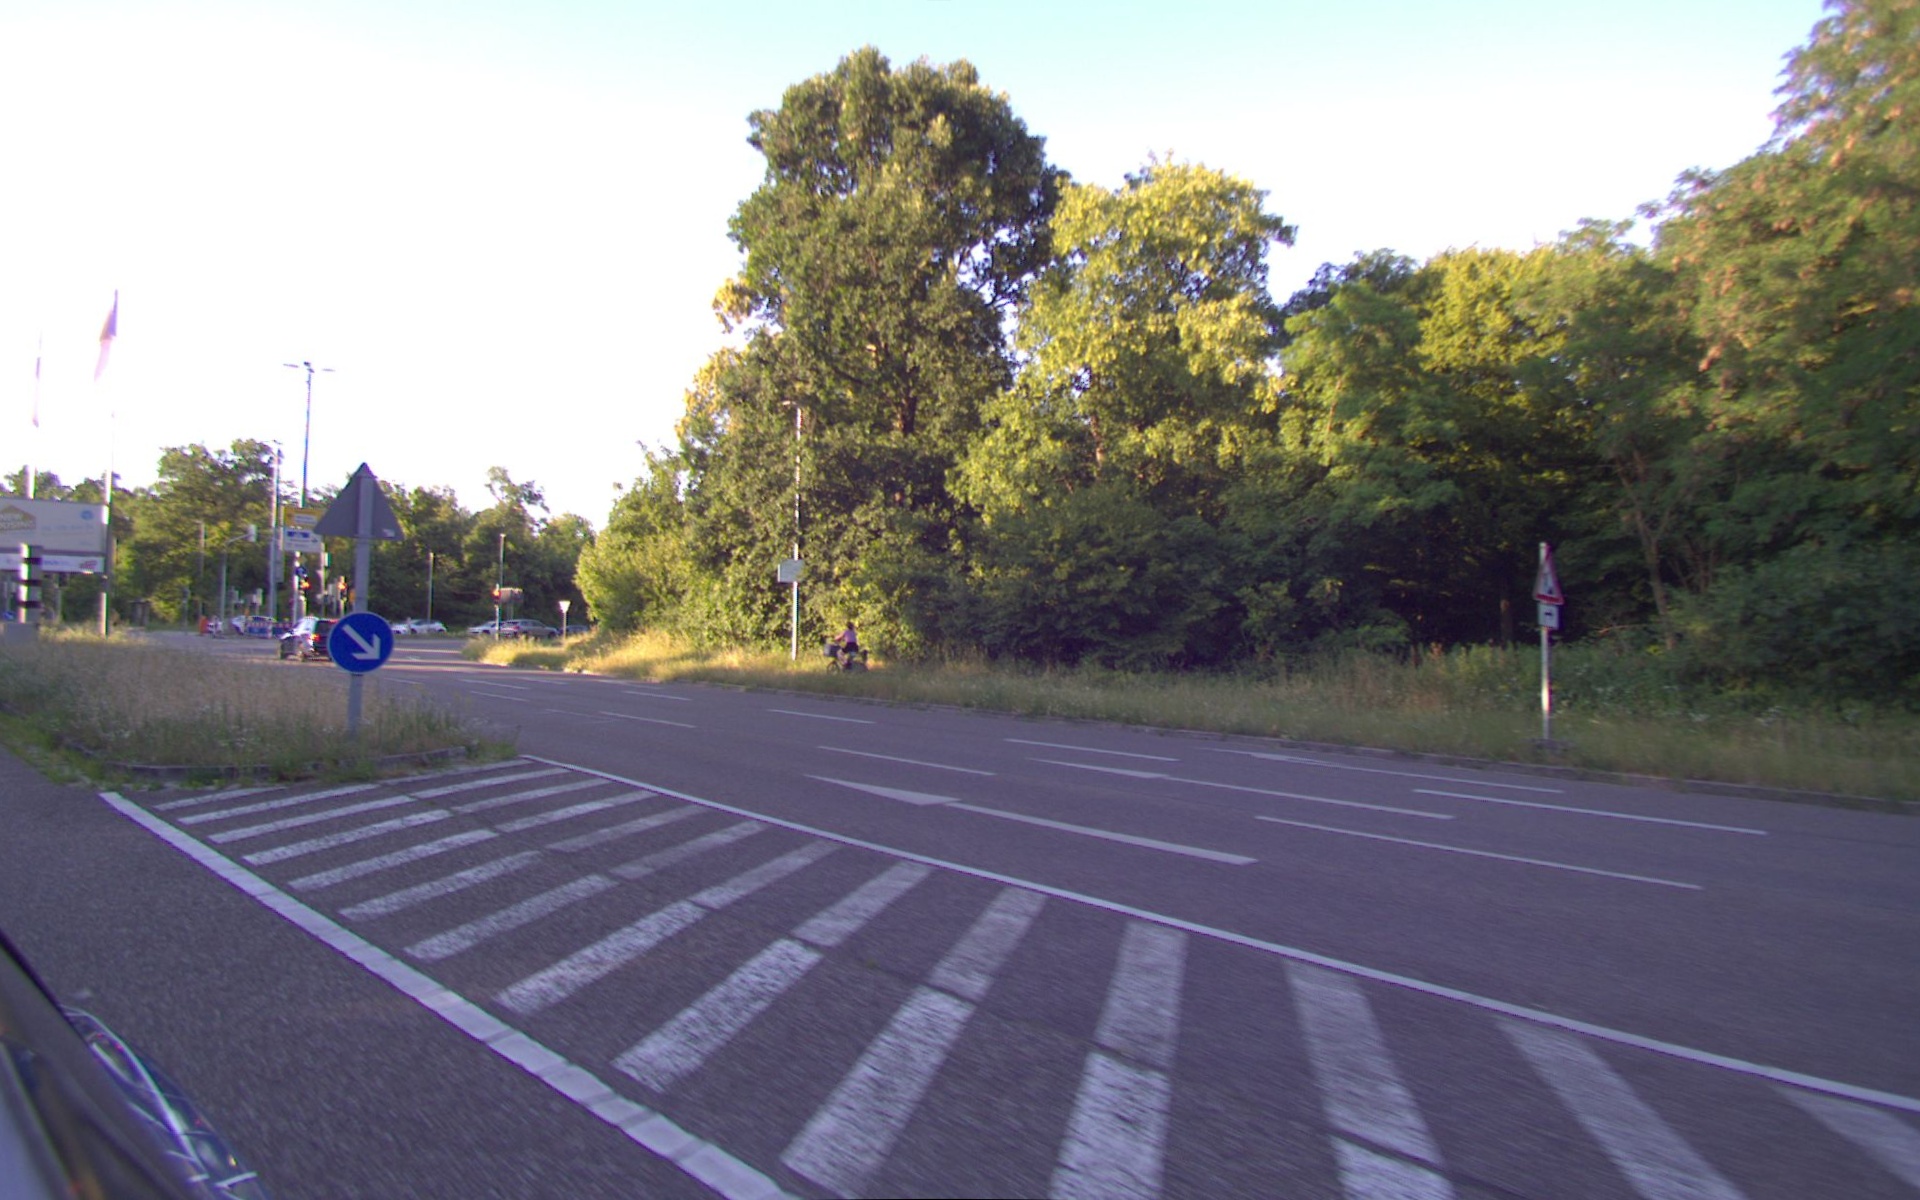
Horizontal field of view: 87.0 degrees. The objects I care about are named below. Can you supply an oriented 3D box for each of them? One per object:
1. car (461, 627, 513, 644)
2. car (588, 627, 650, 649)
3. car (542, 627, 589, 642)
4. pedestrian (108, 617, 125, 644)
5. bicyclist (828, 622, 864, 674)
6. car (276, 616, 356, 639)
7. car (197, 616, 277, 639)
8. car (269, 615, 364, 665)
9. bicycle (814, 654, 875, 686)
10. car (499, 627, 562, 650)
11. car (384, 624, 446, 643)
[{"bbox_3d":[-43.507,3.255,93.118,1.712,1.467,4.197,0,-2,25],"label":"car"},{"bbox_3d":[-27.941,3.118,83.168,2.002,1.673,4.778,2,0,26],"label":"car"},{"bbox_3d":[-39.296,3.415,100.839,1.712,1.467,4.363,0,-2,25],"label":"car"},{"bbox_3d":[-56.942,2.052,68.308,0.575,1.814,0.740,-1,-2,39],"label":"pedestrian"},{"bbox_3d":[-3.166,1.330,28.198,0.822,1.440,0.579,-1,-3,44],"label":"bicyclist"},{"bbox_3d":[-42.608,1.842,67.035,1.712,1.467,4.197,0,-2,25],"label":"car"},{"bbox_3d":[-49.826,1.908,69.859,1.712,1.467,4.197,0,-2,25],"label":"car"},{"bbox_3d":[-22.110,1.342,34.701,1.798,1.545,4.458,5,-4,-44],"label":"car"},{"bbox_3d":[-3.242,1.934,28.349,1.959,0.810,0.579,-1,-3,44],"label":"bicycle"},{"bbox_3d":[-32.854,2.896,77.535,1.986,1.636,4.365,1,-1,21],"label":"car"},{"bbox_3d":[-44.129,2.716,82.008,1.712,1.467,4.197,0,-2,25],"label":"car"}]
